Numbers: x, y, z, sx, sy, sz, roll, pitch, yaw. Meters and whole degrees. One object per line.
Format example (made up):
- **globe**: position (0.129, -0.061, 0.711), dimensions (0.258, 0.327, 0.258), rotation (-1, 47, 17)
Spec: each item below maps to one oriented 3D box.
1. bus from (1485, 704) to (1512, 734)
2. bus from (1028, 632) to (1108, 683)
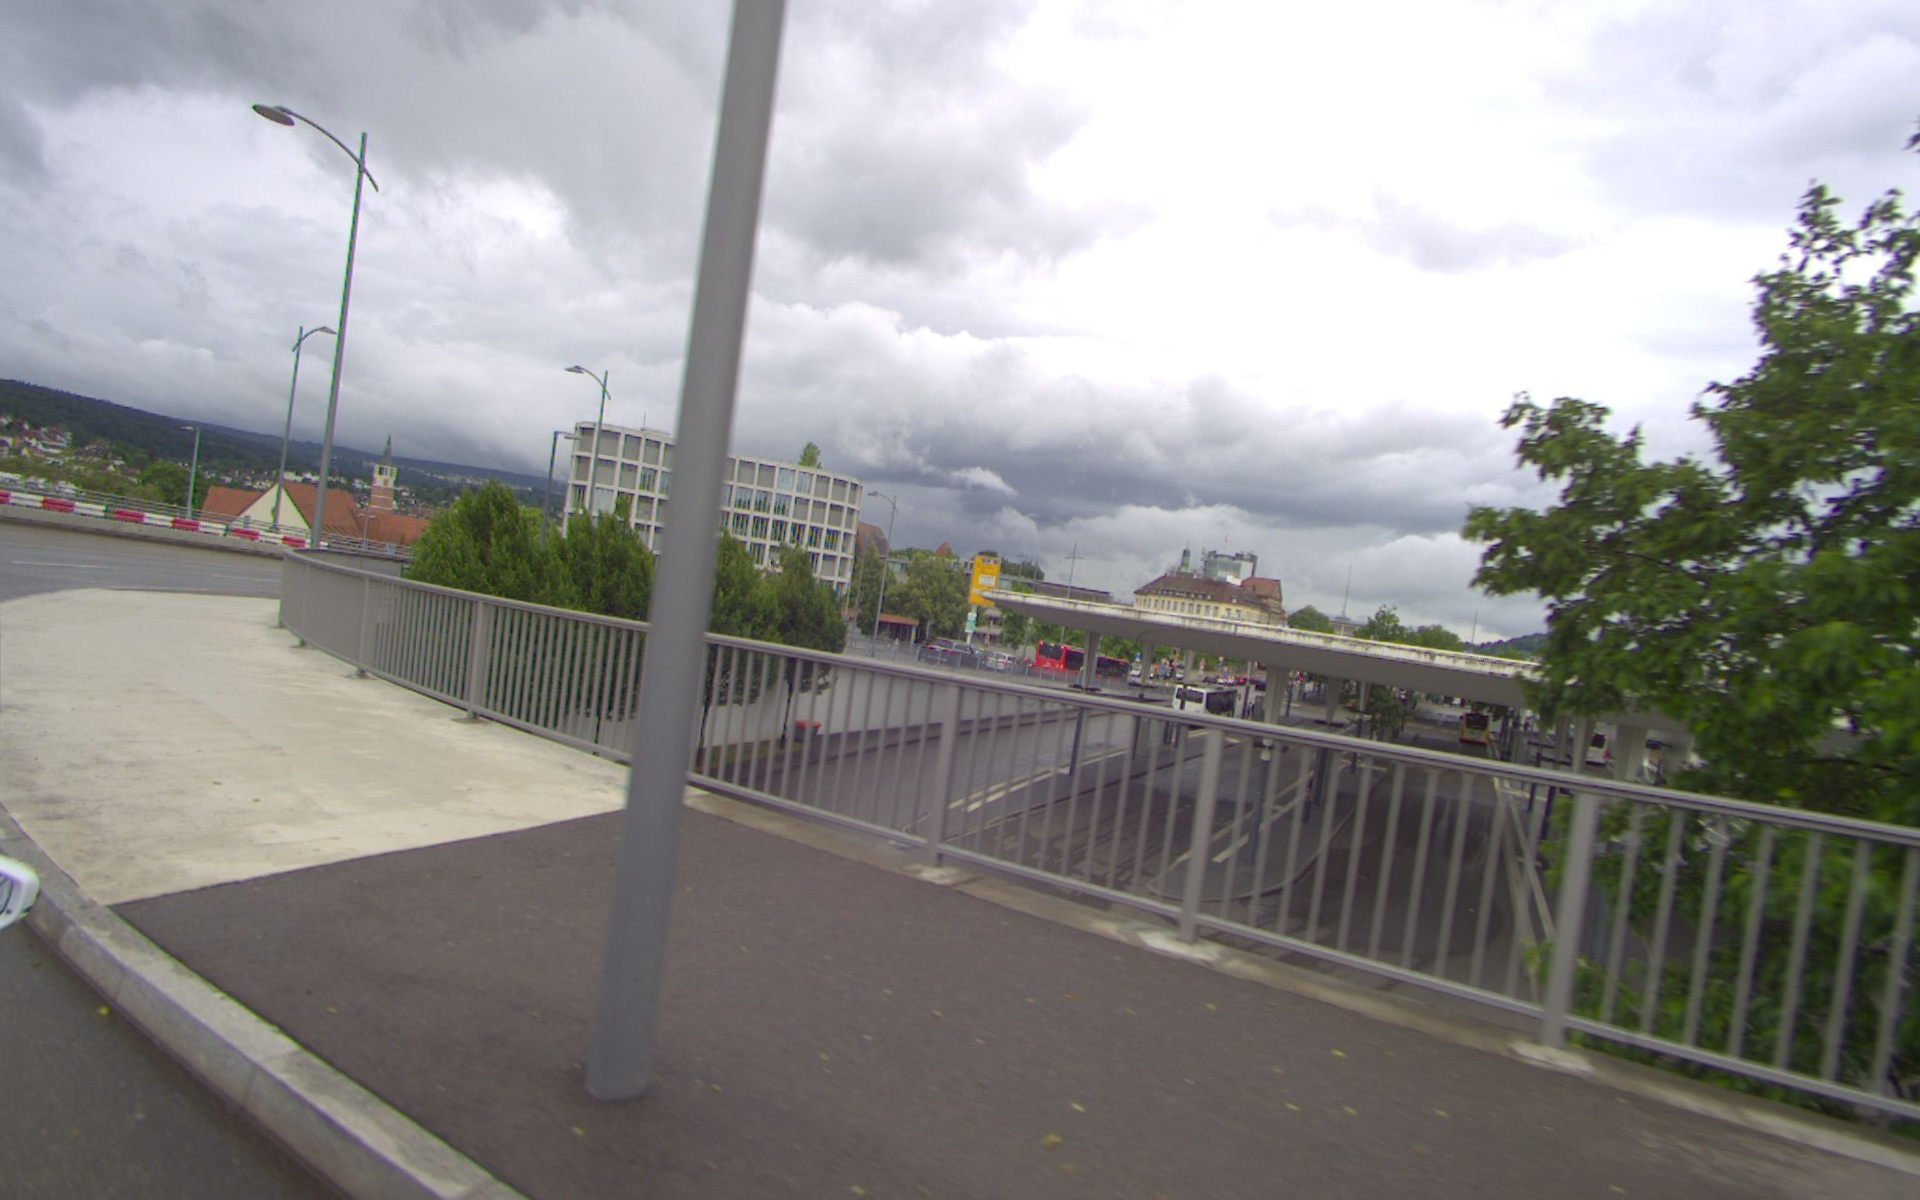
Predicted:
- **bus**: position (68.776, 15.165, 128.378), dimensions (2.564, 3.247, 6.986), rotation (9, -1, 29)
- **bus**: position (9.328, 4.994, 85.370), dimensions (2.787, 3.224, 10.311), rotation (11, -2, 27)
